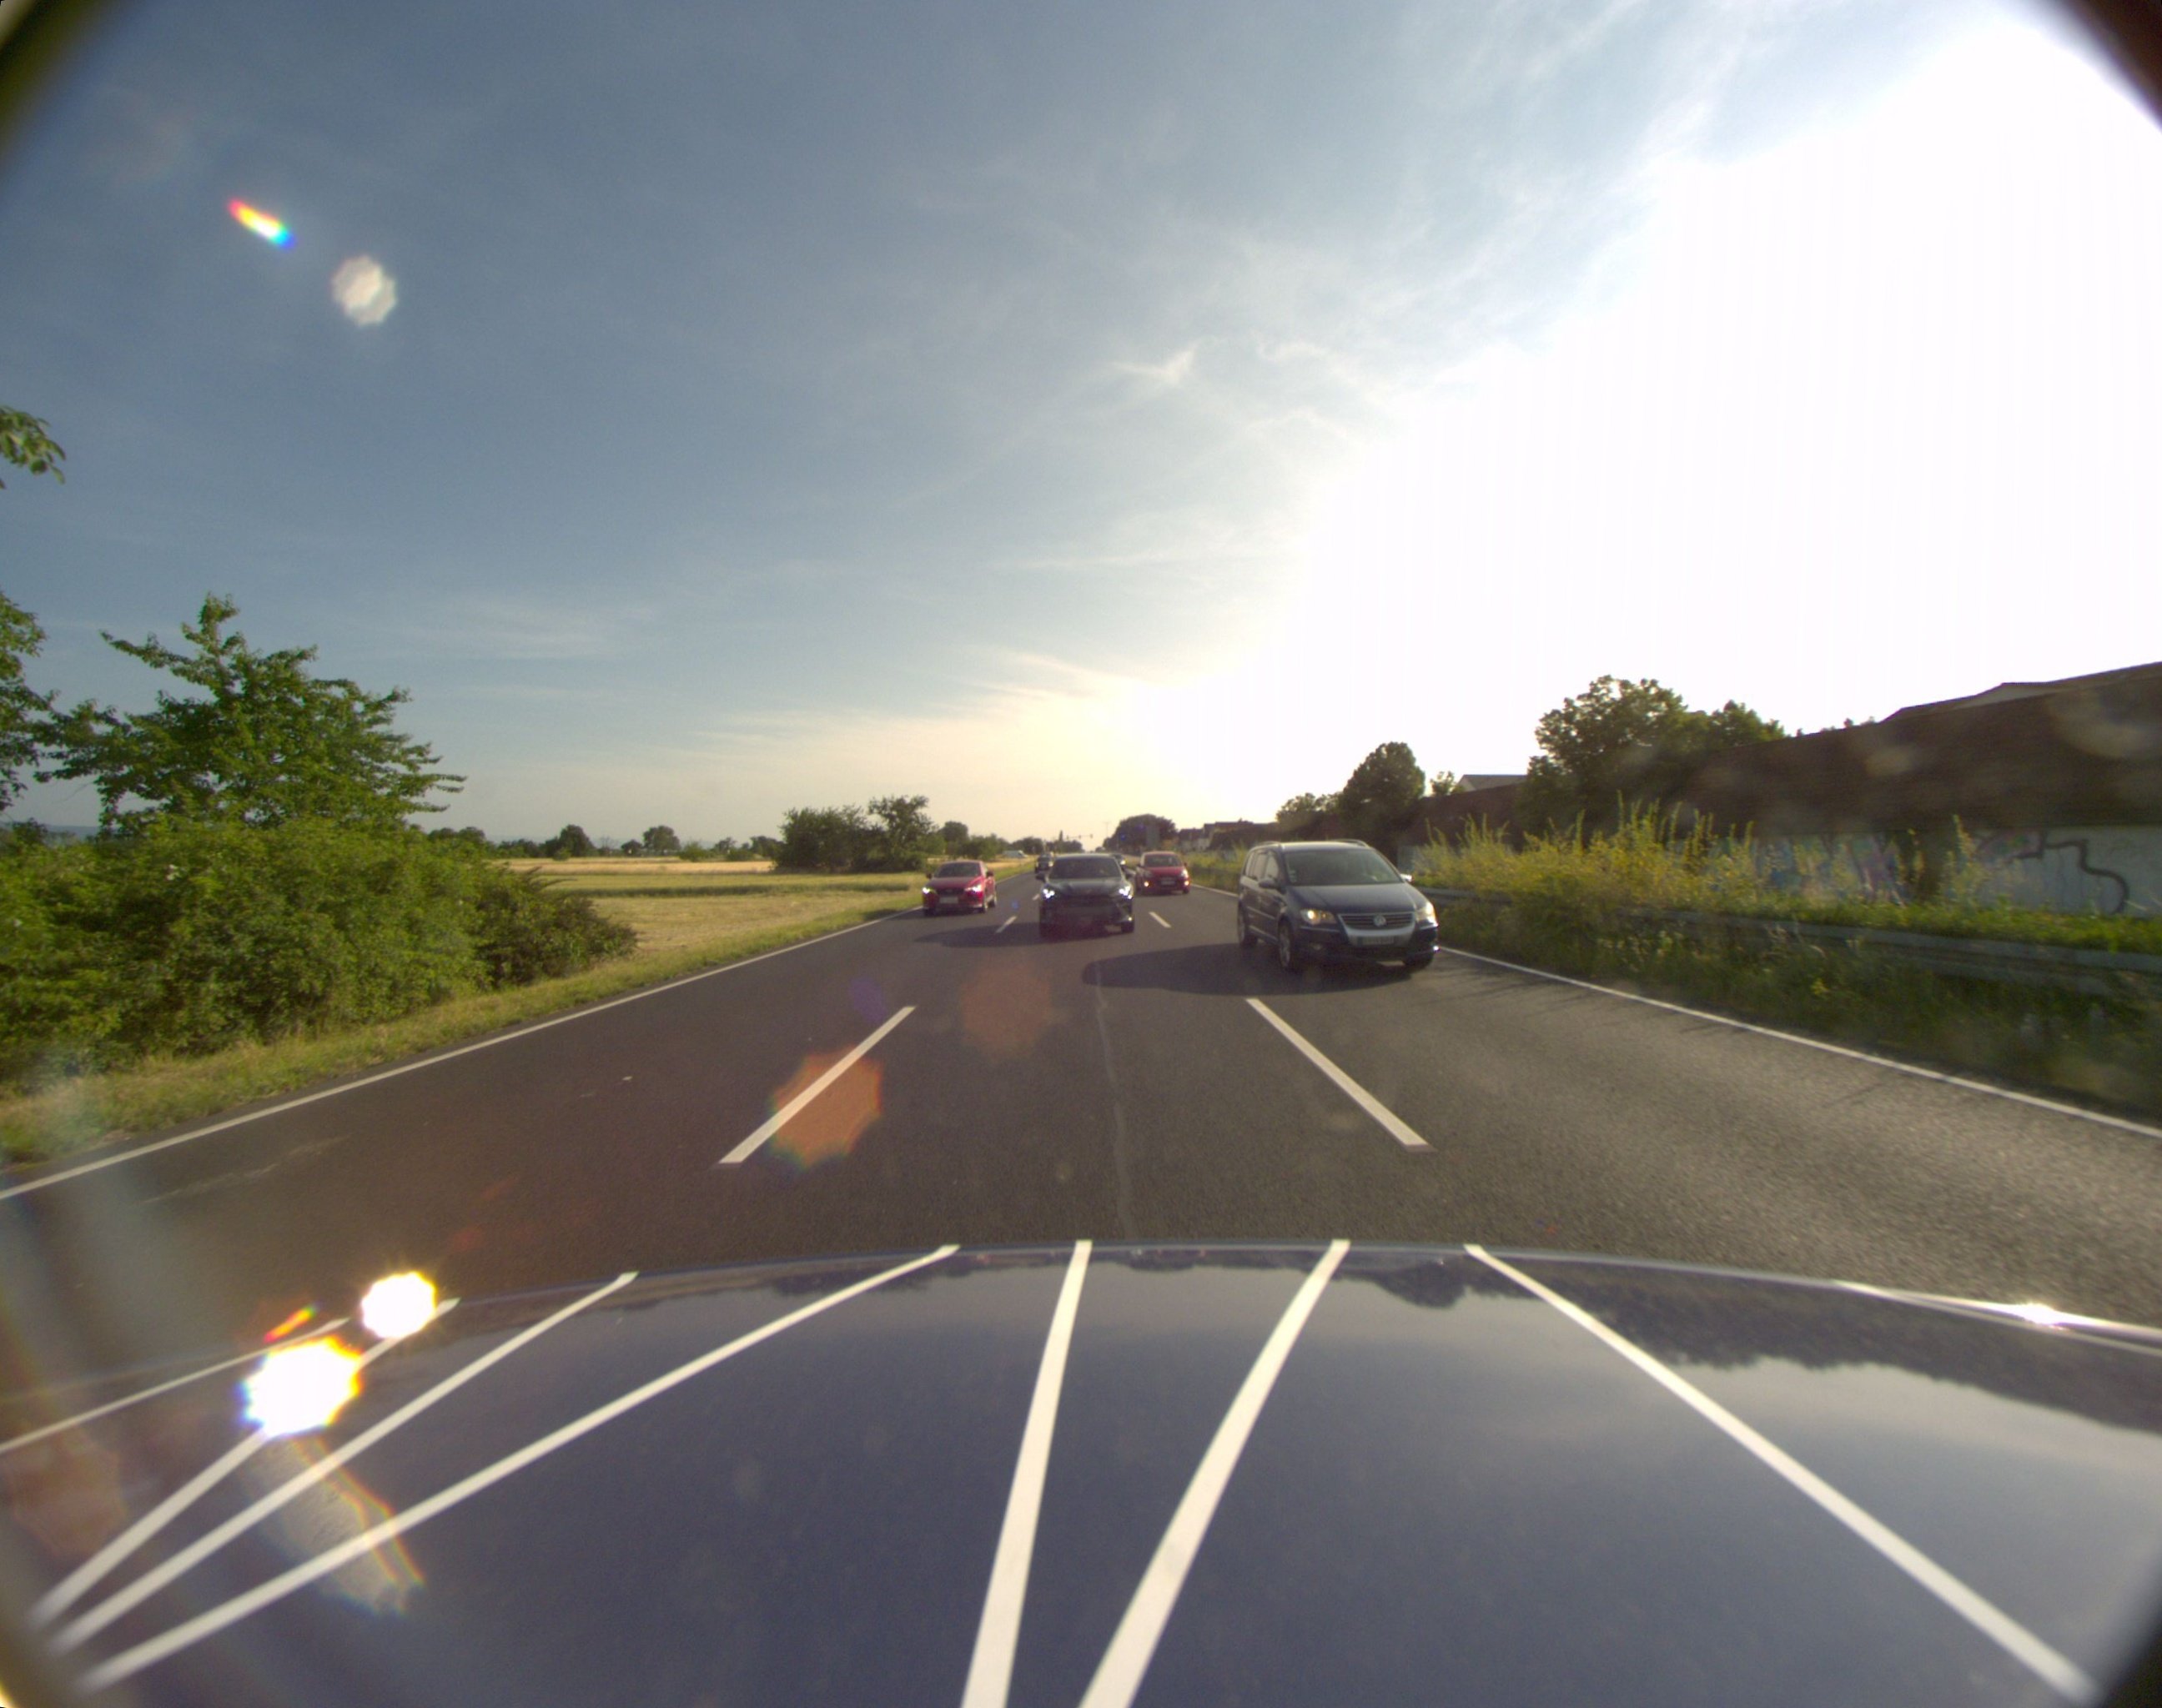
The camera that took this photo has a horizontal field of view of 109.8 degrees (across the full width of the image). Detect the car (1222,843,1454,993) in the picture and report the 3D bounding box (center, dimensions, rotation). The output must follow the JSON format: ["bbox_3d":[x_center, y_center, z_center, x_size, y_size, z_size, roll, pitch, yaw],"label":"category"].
[{"bbox_3d":[3.307,0.682,10.808,1.777,1.612,4.681,-2,1,1],"label":"car"}]

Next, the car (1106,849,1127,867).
[{"bbox_3d":[3.266,0.319,69.923,1.719,1.521,3.999,-2,1,1],"label":"car"}]

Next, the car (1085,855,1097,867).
[{"bbox_3d":[1.679,1.219,127.548,1.918,1.871,3.999,-2,1,1],"label":"car"}]

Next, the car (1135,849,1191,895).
[{"bbox_3d":[3.099,0.654,29.530,1.748,1.537,3.999,-2,1,1],"label":"car"}]

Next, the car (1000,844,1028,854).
[{"bbox_3d":[-17.753,-1.389,201.123,7.202,2.654,2.094,0,2,14],"label":"car"}]

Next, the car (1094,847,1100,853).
[{"bbox_3d":[5.111,-1.353,244.674,1.998,2.002,3.999,-2,1,1],"label":"car"}]

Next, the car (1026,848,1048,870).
[{"bbox_3d":[-4.305,0.463,74.287,1.999,2.002,3.998,-2,1,-2],"label":"car"}]

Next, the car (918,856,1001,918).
[{"bbox_3d":[-3.507,0.907,22.746,1.708,1.497,4.500,-2,1,0],"label":"car"}]

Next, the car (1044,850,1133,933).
[{"bbox_3d":[0.189,0.769,18.035,1.791,1.594,4.339,-2,1,1],"label":"car"}]
